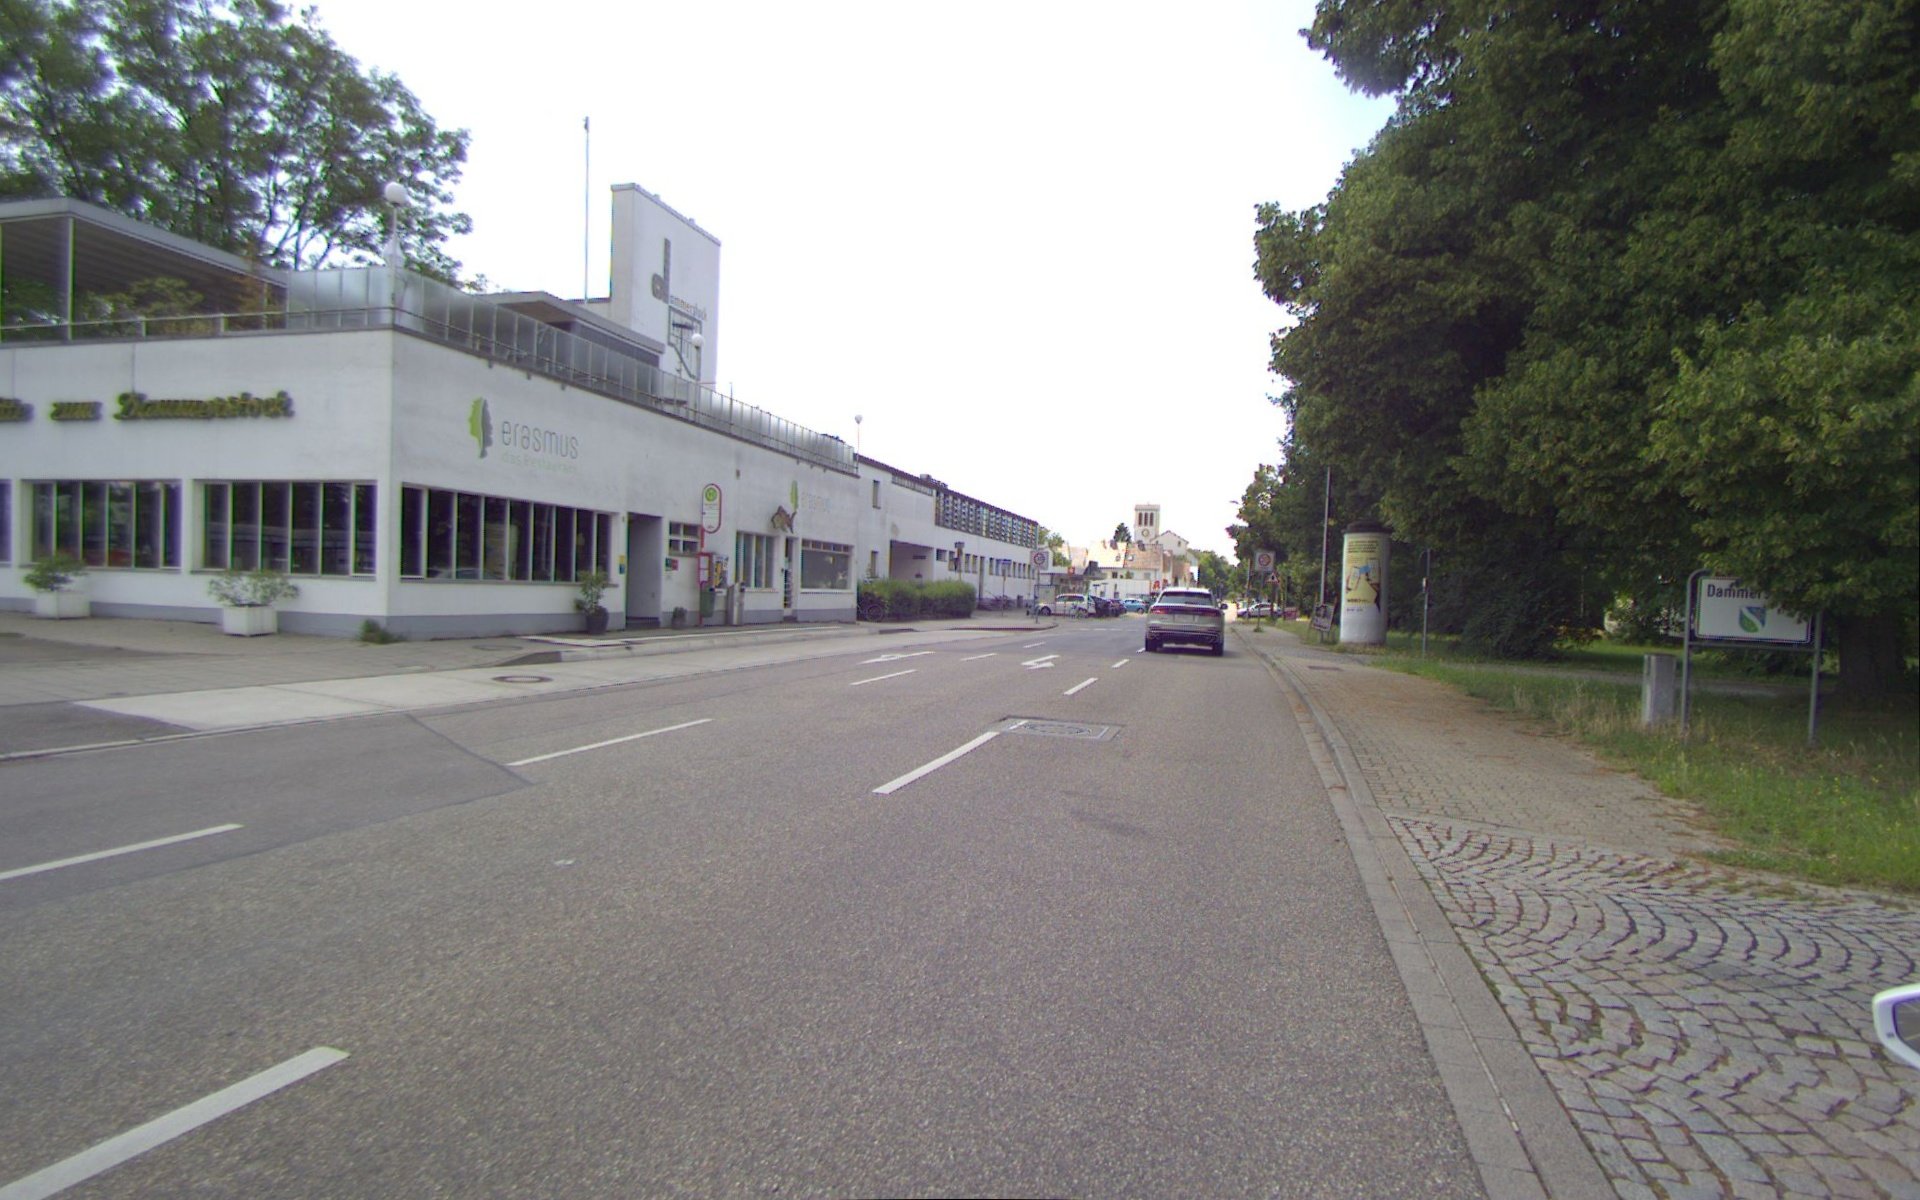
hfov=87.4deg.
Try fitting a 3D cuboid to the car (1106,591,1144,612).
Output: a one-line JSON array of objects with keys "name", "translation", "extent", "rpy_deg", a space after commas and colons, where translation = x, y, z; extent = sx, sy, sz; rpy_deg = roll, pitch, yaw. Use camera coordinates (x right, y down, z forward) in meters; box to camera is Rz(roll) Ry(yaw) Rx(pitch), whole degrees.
[{"name": "car", "translation": [17.310, 0.161, 105.330], "extent": [3.919, 2.041, 2.001], "rpy_deg": [2, 1, 10]}]

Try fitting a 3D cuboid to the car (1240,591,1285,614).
[{"name": "car", "translation": [28.814, 0.211, 95.626], "extent": [3.922, 2.041, 1.999], "rpy_deg": [2, 1, 22]}]

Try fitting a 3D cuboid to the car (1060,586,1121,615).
[{"name": "car", "translation": [10.119, 0.074, 77.662], "extent": [4.552, 2.040, 2.001], "rpy_deg": [2, 0, 11]}]

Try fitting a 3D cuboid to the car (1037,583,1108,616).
[{"name": "car", "translation": [7.611, -0.015, 67.637], "extent": [4.552, 2.040, 2.001], "rpy_deg": [2, 0, 11]}]

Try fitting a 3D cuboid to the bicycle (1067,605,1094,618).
[{"name": "bicycle", "translation": [7.603, 0.725, 63.244], "extent": [1.641, 0.767, 0.570], "rpy_deg": [3, 1, 11]}]

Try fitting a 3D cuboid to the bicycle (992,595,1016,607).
[{"name": "bicycle", "translation": [3.318, 0.080, 76.012], "extent": [1.645, 0.767, 0.569], "rpy_deg": [3, 1, -10]}]

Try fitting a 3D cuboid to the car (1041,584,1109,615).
[{"name": "car", "translation": [8.186, -0.047, 71.394], "extent": [4.552, 2.040, 2.001], "rpy_deg": [2, 0, 11]}]

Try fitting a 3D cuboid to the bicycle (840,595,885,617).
[{"name": "bicycle", "translation": [-3.656, 0.240, 37.808], "extent": [1.642, 0.768, 0.411], "rpy_deg": [2, 1, -2]}]

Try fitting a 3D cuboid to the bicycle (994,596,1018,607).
[{"name": "bicycle", "translation": [3.449, 0.103, 75.252], "extent": [1.645, 0.767, 0.569], "rpy_deg": [3, 1, -10]}]

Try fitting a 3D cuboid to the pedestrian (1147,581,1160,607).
[{"name": "pedestrian", "translation": [16.550, -0.507, 85.907], "extent": [0.894, 2.164, 1.014], "rpy_deg": [2, 1, 17]}]

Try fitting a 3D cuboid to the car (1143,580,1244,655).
[{"name": "car", "translation": [6.337, 0.405, 26.881], "extent": [1.949, 1.706, 4.573], "rpy_deg": [4, 2, 21]}]
